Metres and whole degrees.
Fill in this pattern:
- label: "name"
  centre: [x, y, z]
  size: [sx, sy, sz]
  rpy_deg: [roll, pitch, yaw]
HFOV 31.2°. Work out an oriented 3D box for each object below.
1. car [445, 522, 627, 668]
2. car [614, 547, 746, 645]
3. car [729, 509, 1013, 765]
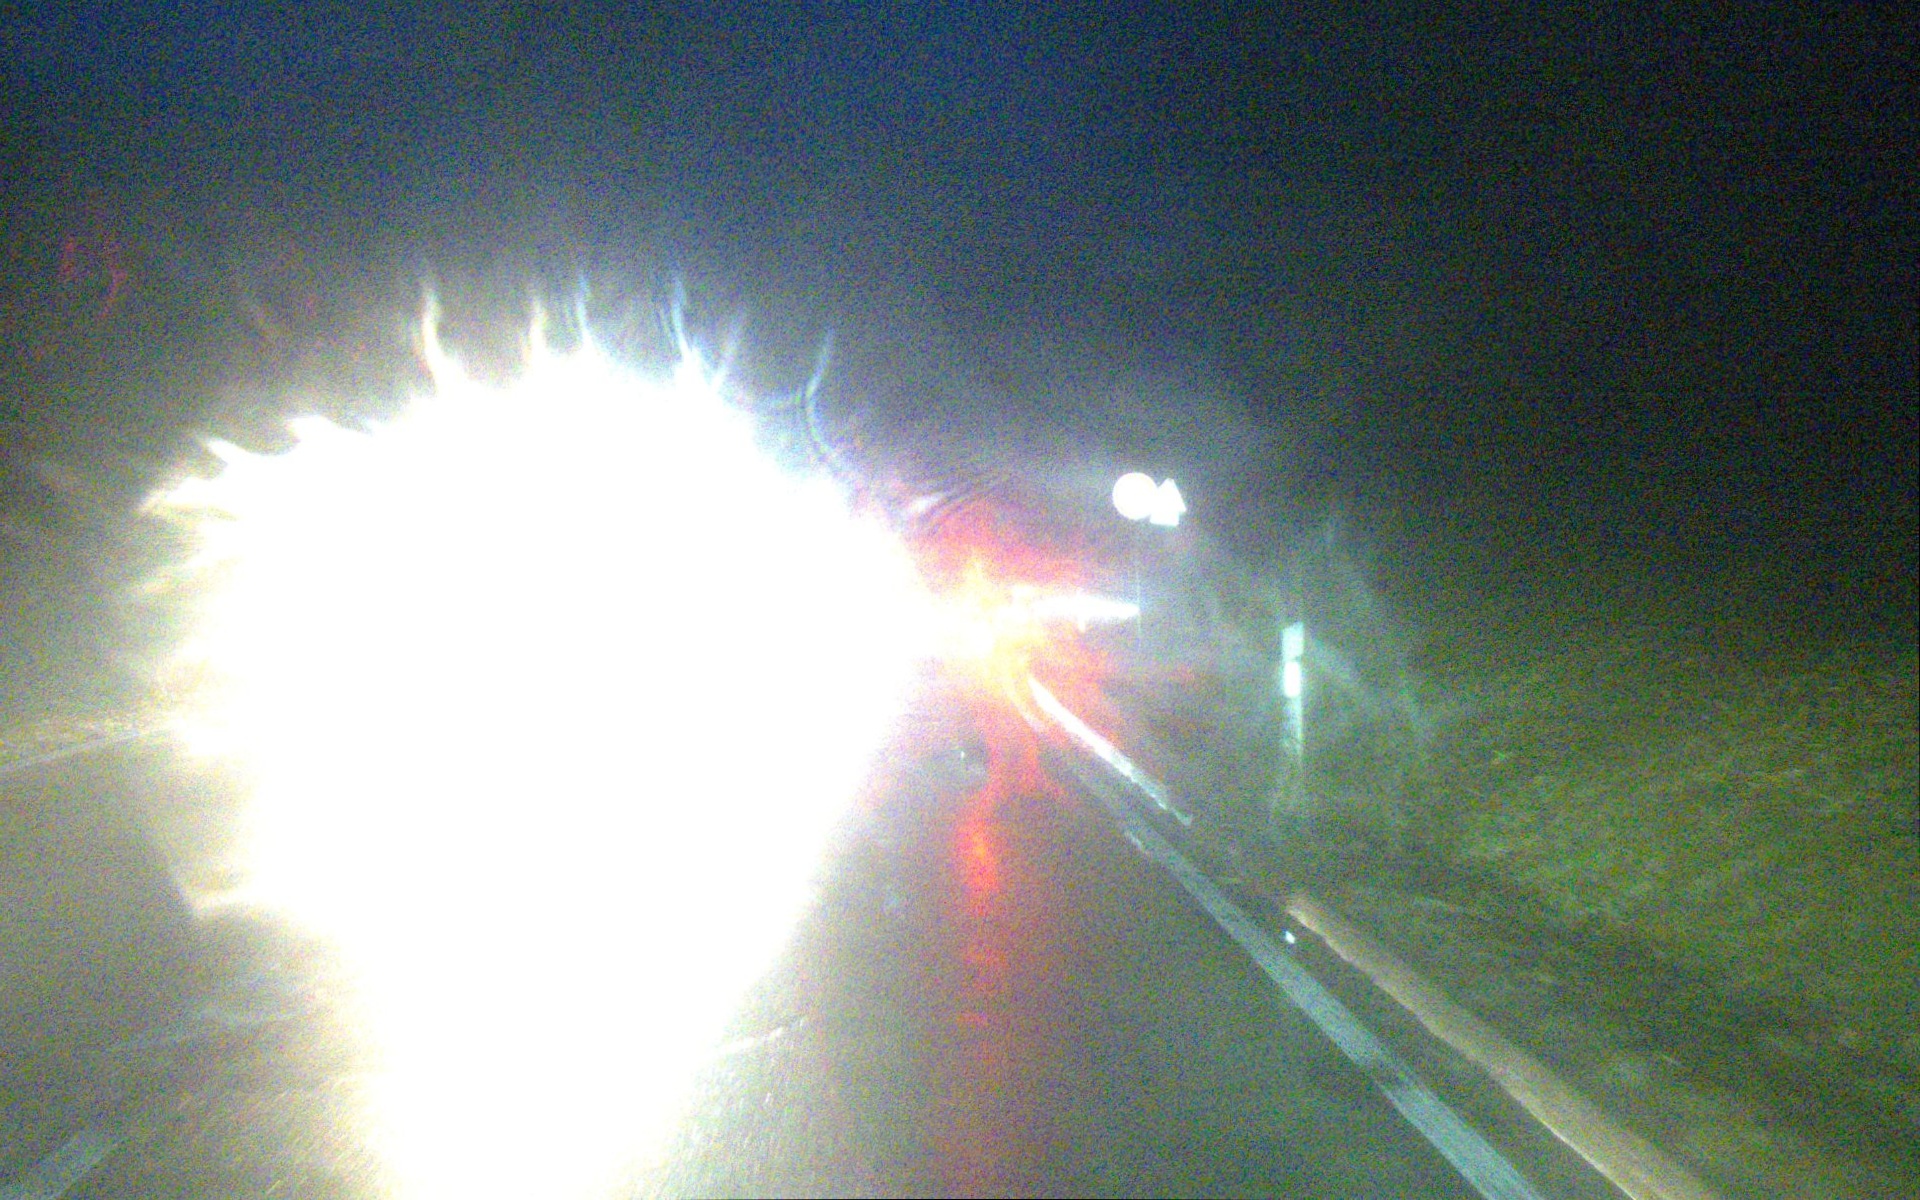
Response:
- label: "car"
  centre: [-4.691, -0.095, 38.399]
  size: [1.662, 1.555, 3.561]
  rpy_deg: [0, 1, -1]
- label: "car"
  centre: [-4.499, -0.099, 55.762]
  size: [1.755, 1.401, 4.488]
  rpy_deg: [2, 2, 0]
- label: "car"
  centre: [-0.638, 0.235, 26.144]
  size: [1.993, 1.801, 3.917]
  rpy_deg: [0, 1, 0]
